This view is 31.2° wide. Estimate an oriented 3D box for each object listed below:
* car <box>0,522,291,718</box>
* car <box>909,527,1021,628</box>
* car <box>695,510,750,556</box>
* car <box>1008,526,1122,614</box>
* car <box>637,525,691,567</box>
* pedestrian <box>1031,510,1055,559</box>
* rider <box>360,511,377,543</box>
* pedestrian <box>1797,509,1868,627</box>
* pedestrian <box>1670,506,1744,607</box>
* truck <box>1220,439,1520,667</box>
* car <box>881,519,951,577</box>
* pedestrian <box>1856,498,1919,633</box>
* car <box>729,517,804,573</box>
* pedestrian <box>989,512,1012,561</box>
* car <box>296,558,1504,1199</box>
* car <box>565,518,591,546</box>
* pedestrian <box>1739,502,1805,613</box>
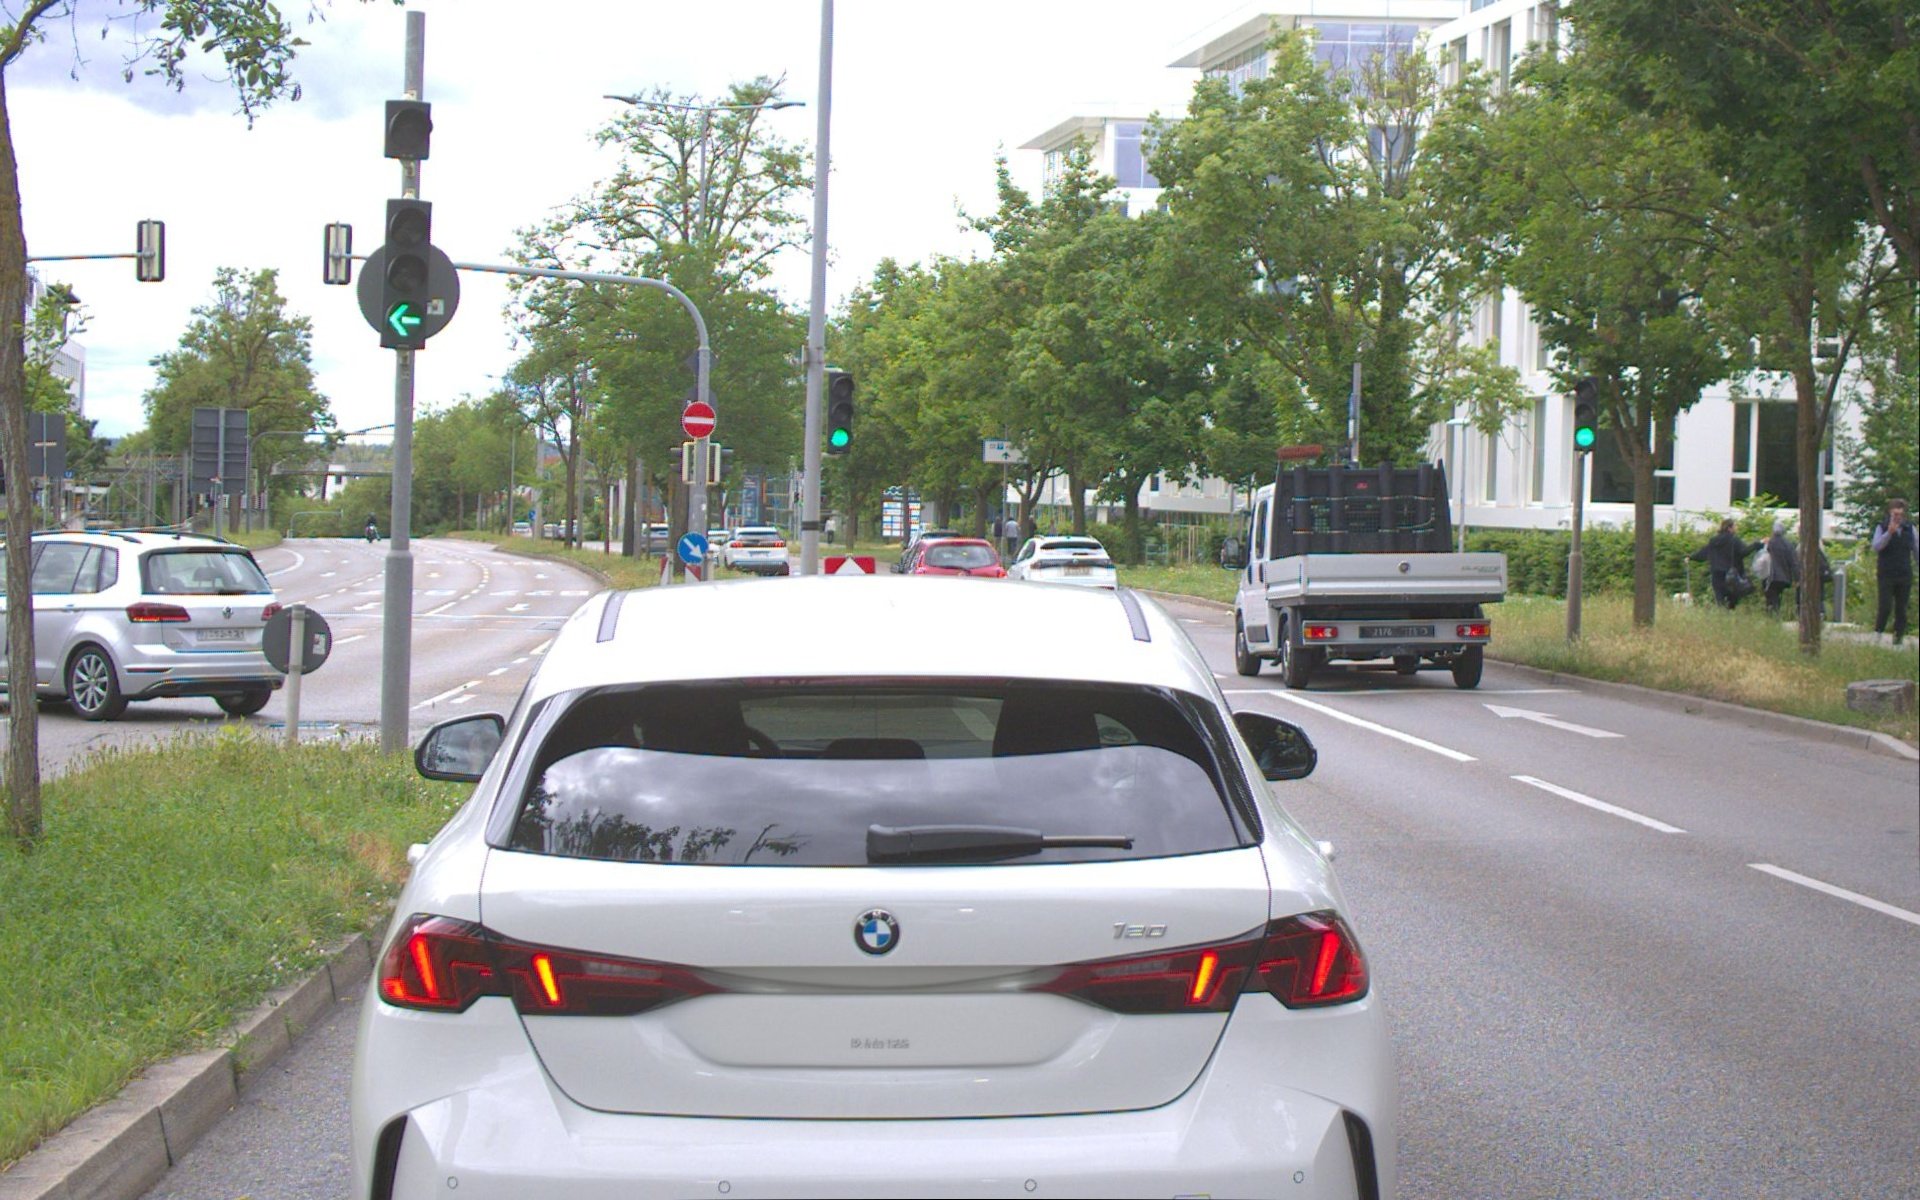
[{"bbox_3d":[-7.718,0.120,29.751,3.996,1.563,1.551,2,1,39],"label":"car"},{"bbox_3d":[0.049,-0.372,54.668,1.716,1.553,3.858,0,1,-1],"label":"car"},{"bbox_3d":[-7.848,-2.223,113.412,1.605,1.463,3.676,1,1,-7],"label":"car"},{"bbox_3d":[1.891,-0.563,62.937,1.715,1.550,4.090,1,1,-3],"label":"car"},{"bbox_3d":[-11.932,-2.187,138.555,1.891,1.590,4.315,1,1,-8],"label":"car"},{"bbox_3d":[3.458,-2.734,143.108,0.762,2.007,0.754,1,0,-15],"label":"pedestrian"},{"bbox_3d":[-33.046,-4.056,192.164,0.846,1.765,0.808,1,0,-3],"label":"rider"},{"bbox_3d":[12.598,-0.468,49.673,0.767,1.679,0.883,1,0,-1],"label":"pedestrian"},{"bbox_3d":[10.891,-0.631,50.136,0.789,1.443,1.112,1,0,-1],"label":"pedestrian"},{"bbox_3d":[4.229,-0.507,36.511,2.211,2.196,5.845,1,1,-2],"label":"truck"},{"bbox_3d":[-1.294,-1.495,99.908,1.657,1.507,4.000,1,-1,-6],"label":"car"},{"bbox_3d":[11.062,-0.402,40.598,0.741,1.568,0.674,1,0,-1],"label":"pedestrian"},{"bbox_3d":[-5.642,-1.612,99.902,1.854,1.590,4.315,0,1,-8],"label":"car"},{"bbox_3d":[1.686,-2.613,142.228,0.762,2.007,0.754,1,0,-15],"label":"pedestrian"},{"bbox_3d":[-0.113,0.659,7.250,1.822,1.433,4.000,1,1,0],"label":"car"},{"bbox_3d":[-28.271,-5.037,254.365,1.837,2.007,4.001,1,0,-6],"label":"car"},{"bbox_3d":[11.747,-0.616,49.743,0.699,1.590,0.883,1,0,-1],"label":"pedestrian"}]
